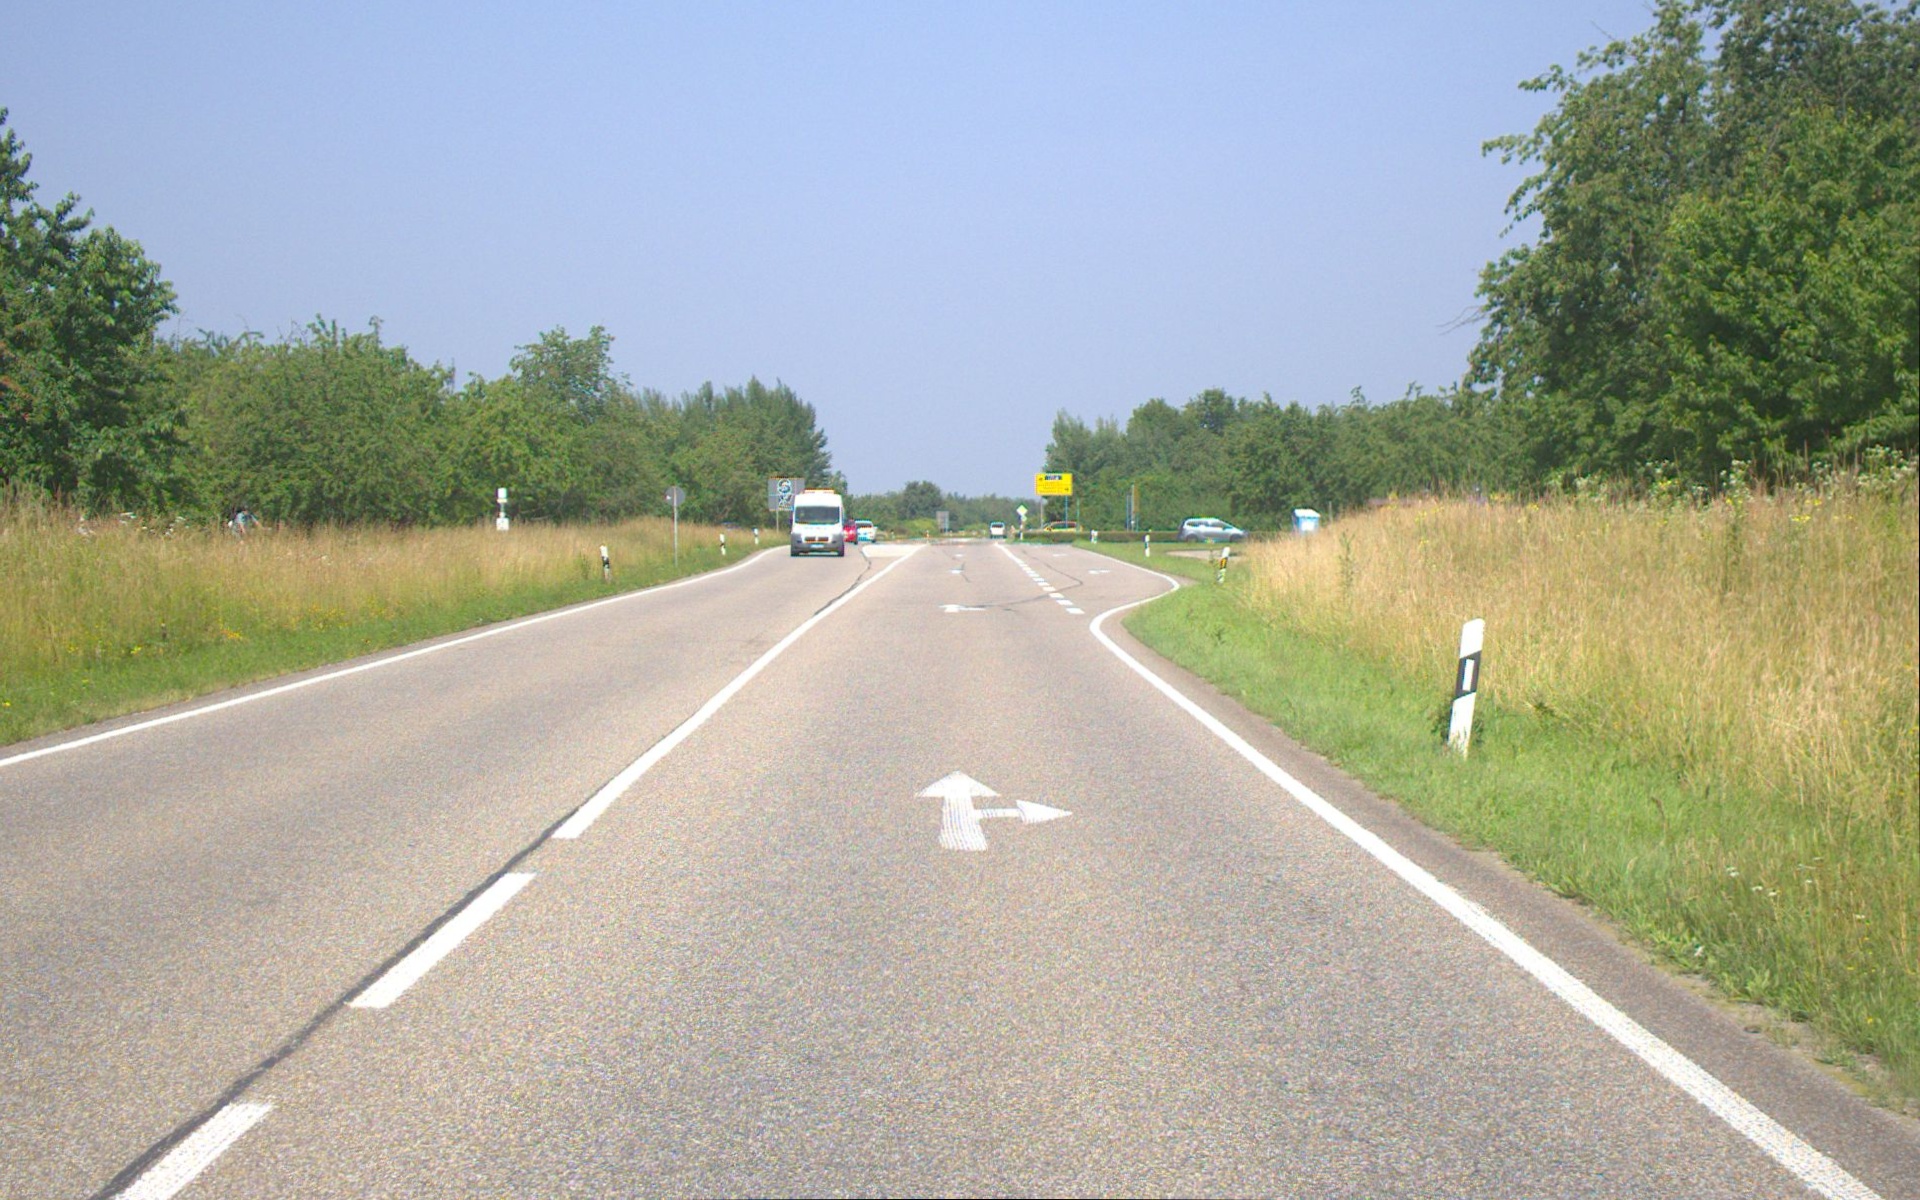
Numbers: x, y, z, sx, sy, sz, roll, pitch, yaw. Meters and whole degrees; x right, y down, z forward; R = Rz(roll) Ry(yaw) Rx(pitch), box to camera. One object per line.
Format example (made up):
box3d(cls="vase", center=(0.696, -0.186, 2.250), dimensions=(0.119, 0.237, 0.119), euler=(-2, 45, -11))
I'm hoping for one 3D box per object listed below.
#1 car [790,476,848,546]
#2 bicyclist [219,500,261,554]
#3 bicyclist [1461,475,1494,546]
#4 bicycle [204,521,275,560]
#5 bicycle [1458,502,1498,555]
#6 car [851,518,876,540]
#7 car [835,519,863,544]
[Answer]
box3d(cls="car", center=(-5.543, -3.493, 136.150), dimensions=(2.161, 2.659, 6.144), euler=(0, 1, -1))
box3d(cls="bicyclist", center=(-18.730, -1.898, 89.424), dimensions=(0.862, 1.409, 0.642), euler=(1, 0, 36))
box3d(cls="bicyclist", center=(14.154, -2.439, 94.090), dimensions=(0.749, 1.923, 0.828), euler=(-1, 1, 0))
box3d(cls="bicycle", center=(-18.746, -1.553, 89.431), dimensions=(1.953, 0.986, 0.649), euler=(1, 0, 36))
box3d(cls="bicycle", center=(14.173, -1.969, 94.090), dimensions=(0.749, 1.413, 2.221), euler=(-1, 1, 0))
box3d(cls="car", center=(-6.654, -4.906, 236.681), dimensions=(1.675, 1.489, 4.137), euler=(0, 1, -2))
box3d(cls="car", center=(-6.617, -4.096, 205.843), dimensions=(1.625, 1.452, 3.622), euler=(0, 1, -1))
